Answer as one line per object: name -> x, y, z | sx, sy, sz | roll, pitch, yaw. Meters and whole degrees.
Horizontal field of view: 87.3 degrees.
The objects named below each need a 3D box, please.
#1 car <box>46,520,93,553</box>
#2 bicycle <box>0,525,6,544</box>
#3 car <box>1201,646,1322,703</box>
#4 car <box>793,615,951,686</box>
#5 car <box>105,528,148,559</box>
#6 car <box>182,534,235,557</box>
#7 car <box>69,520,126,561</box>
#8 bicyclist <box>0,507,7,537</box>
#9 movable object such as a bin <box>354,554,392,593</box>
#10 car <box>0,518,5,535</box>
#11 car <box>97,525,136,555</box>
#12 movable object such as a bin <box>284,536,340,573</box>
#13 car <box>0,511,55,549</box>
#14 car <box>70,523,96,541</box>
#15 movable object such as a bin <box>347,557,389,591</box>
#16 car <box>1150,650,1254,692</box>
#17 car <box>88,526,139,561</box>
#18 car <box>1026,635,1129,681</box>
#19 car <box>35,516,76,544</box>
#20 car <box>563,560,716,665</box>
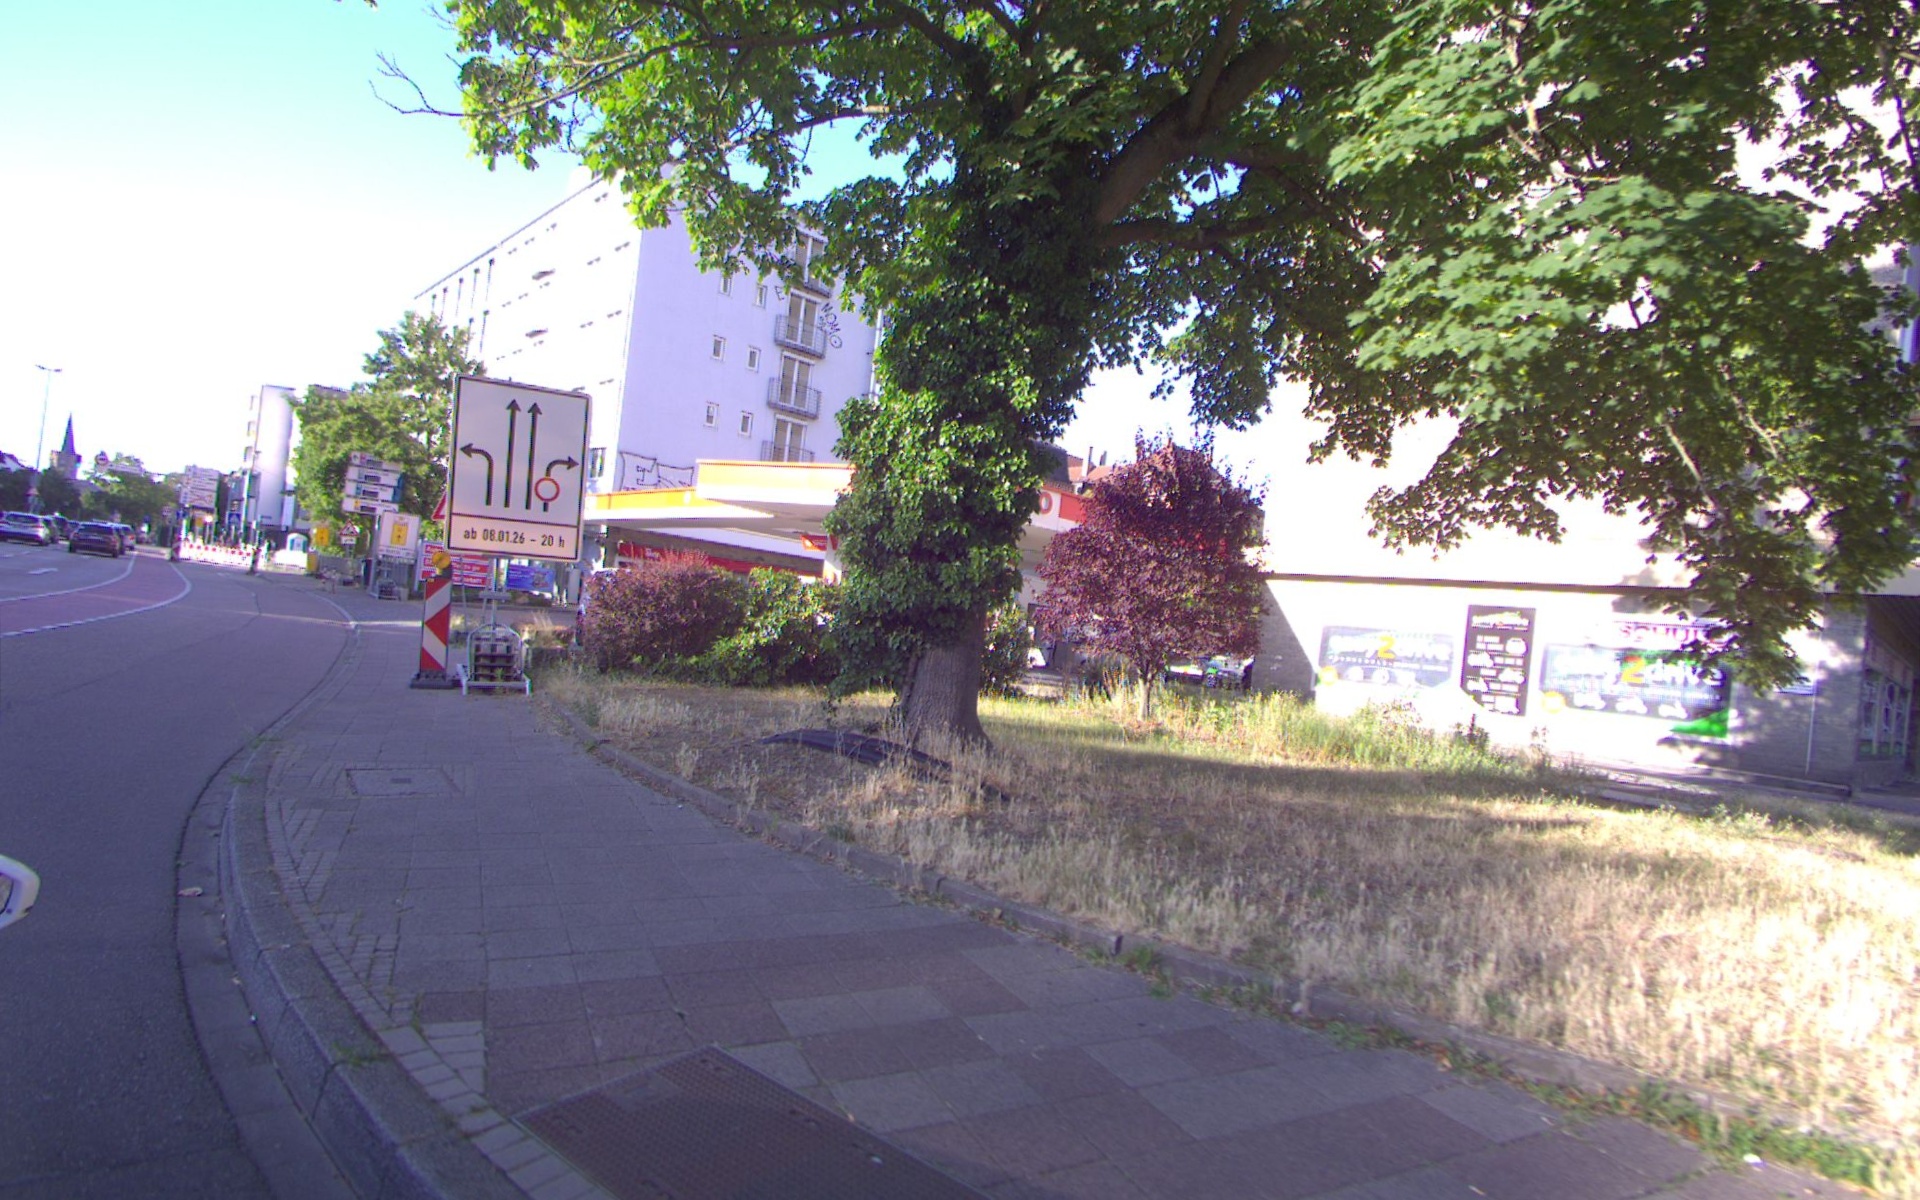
car -> -50.972, -3.660, 57.641 | 1.741, 1.583, 4.006 | 7, -2, -39
bicycle -> -57.285, -3.932, 59.768 | 0.697, 1.113, 2.231 | 7, -1, -42
car -> 10.041, 2.484, 33.414 | 3.974, 1.466, 1.977 | 8, -2, -42
car -> -2.518, 1.431, 28.521 | 3.933, 1.370, 1.996 | 8, 0, 32
car -> -51.797, -3.512, 62.573 | 1.719, 1.598, 3.686 | 7, -1, -37
car -> -80.893, -5.874, 108.289 | 4.348, 1.899, 1.977 | 8, -2, -42
car -> -39.663, -2.757, 46.314 | 1.741, 1.583, 4.006 | 7, -2, -39
bicyclist -> -57.145, -4.634, 59.696 | 0.688, 1.748, 0.976 | 7, -1, -43
movable object such as a bin -> -25.218, -1.114, 43.238 | 1.088, 1.524, 1.241 | 7, -4, -40
car -> -88.212, -6.821, 91.434 | 1.841, 1.479, 4.002 | 8, -2, -42
car -> -55.800, -3.973, 66.536 | 1.812, 1.659, 3.955 | 7, -2, -41
movable object such as a bin -> -50.960, -3.583, 79.128 | 3.316, 2.411, 1.512 | 8, -1, -41
car -> -45.508, -3.398, 49.018 | 1.741, 1.583, 4.006 | 7, -2, -39
car -> -82.939, -6.437, 95.202 | 1.581, 1.443, 3.782 | 7, -2, -39
movable object such as a bin -> -27.126, -1.197, 46.099 | 1.039, 1.360, 1.214 | 6, -1, 35
car -> 10.714, 3.140, 44.715 | 1.739, 1.312, 4.209 | 7, -2, -40
car -> -44.047, -2.925, 52.430 | 1.746, 1.507, 3.688 | 6, -2, -37
car -> 4.950, 2.433, 42.781 | 1.739, 1.437, 4.209 | 7, -2, -40
car -> -58.653, -4.547, 65.275 | 1.674, 1.522, 3.683 | 7, -2, -39
car -> -6.006, 0.165, 18.577 | 1.609, 1.612, 3.861 | 7, -2, -33
